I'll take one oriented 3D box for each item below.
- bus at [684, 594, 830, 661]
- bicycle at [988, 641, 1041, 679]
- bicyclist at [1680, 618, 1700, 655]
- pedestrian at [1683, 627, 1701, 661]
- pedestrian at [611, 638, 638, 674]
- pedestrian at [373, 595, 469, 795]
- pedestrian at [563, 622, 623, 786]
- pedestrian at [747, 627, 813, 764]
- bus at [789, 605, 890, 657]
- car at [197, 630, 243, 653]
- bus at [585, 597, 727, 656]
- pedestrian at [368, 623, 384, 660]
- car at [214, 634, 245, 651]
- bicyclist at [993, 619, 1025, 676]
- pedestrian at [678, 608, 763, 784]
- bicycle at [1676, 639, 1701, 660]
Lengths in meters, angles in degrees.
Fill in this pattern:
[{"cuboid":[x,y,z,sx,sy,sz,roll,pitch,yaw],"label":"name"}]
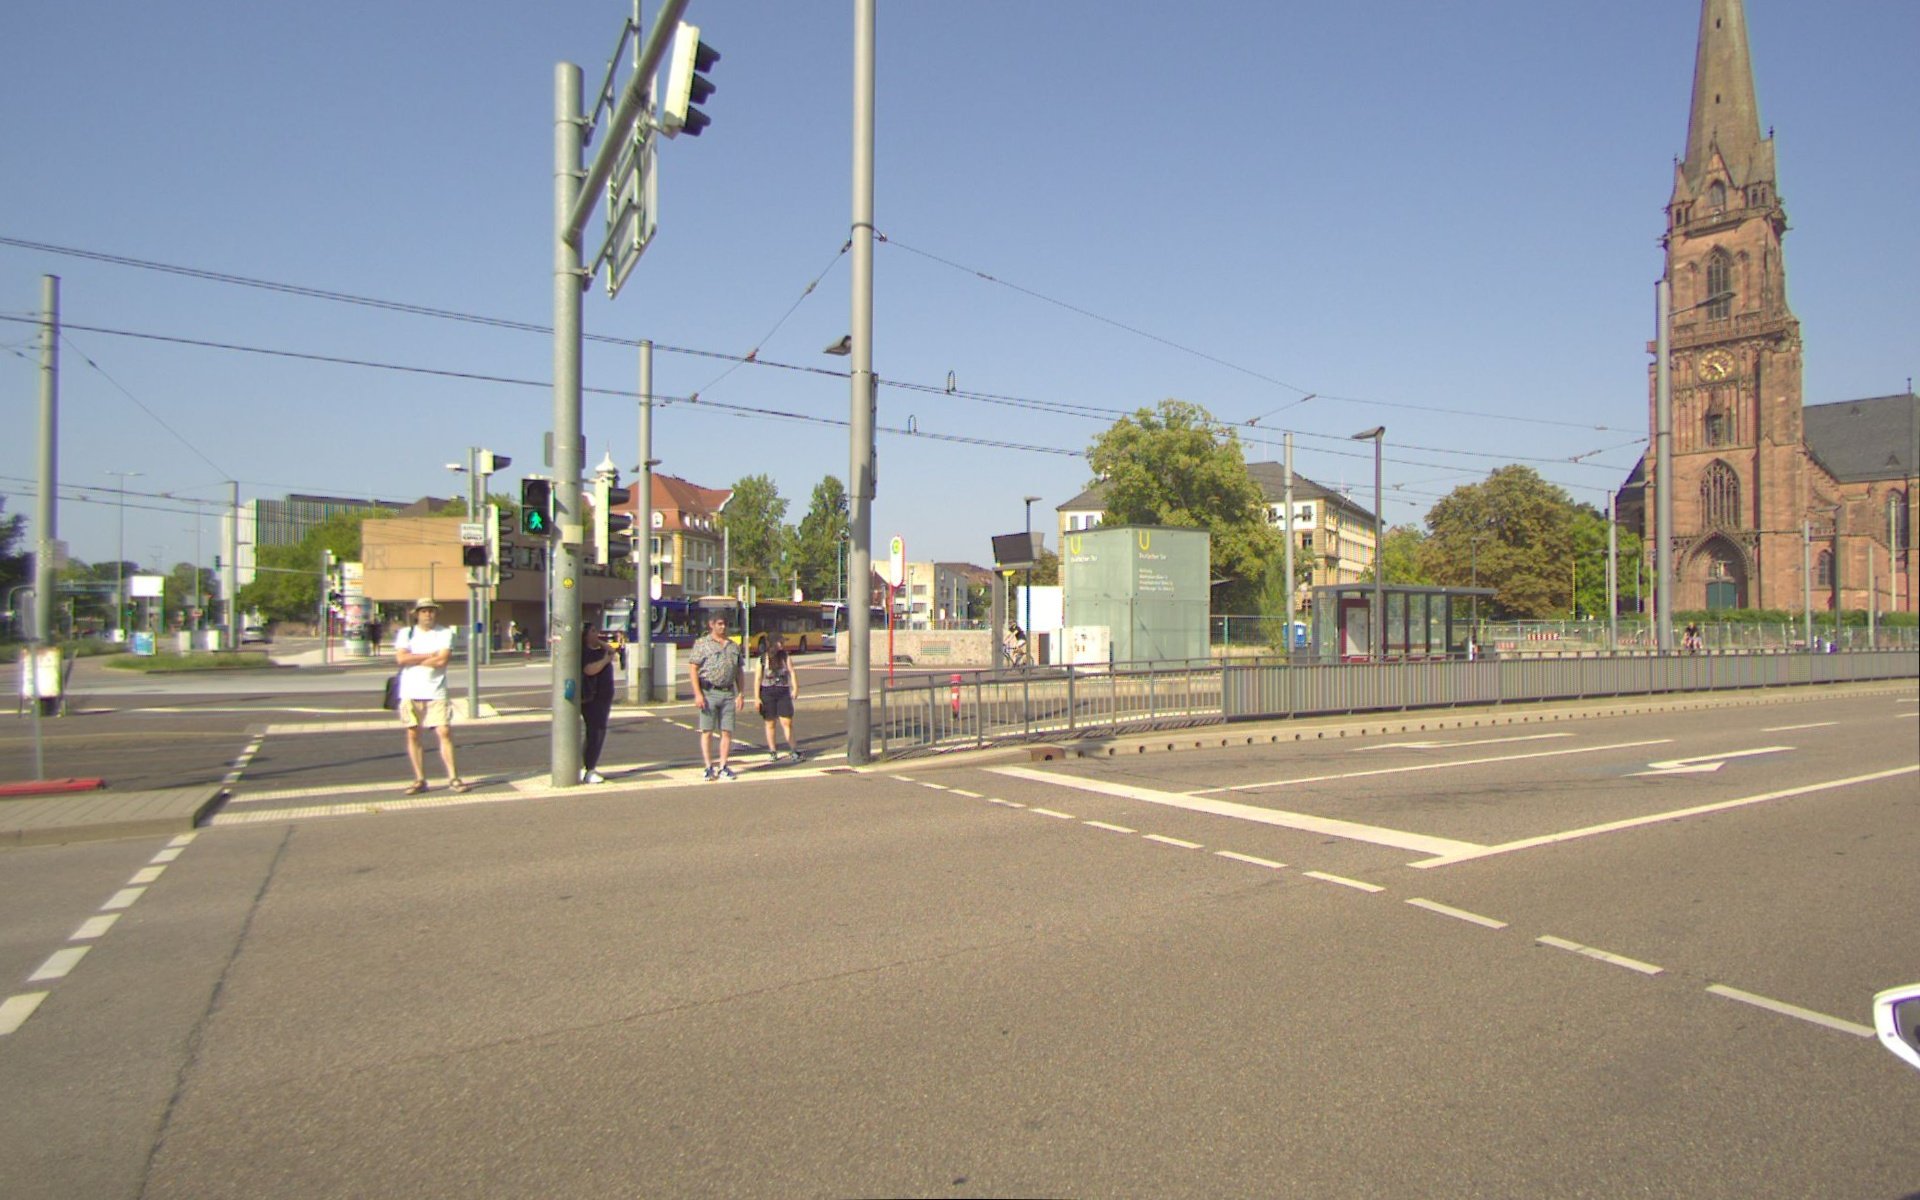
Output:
[{"cuboid":[-10.726,1.535,55.328,3.159,3.220,13.327,0,-2,10],"label":"bus"},{"cuboid":[1.654,1.805,30.381,1.727,1.124,0.399,1,-2,-33],"label":"bicycle"},{"cuboid":[35.080,1.737,48.266,0.810,1.770,0.484,1,-2,-31],"label":"bicyclist"},{"cuboid":[37.140,2.230,50.971,0.657,1.723,0.514,1,-1,-32],"label":"pedestrian"},{"cuboid":[-12.481,2.074,37.367,0.752,1.309,0.558,0,-1,12],"label":"pedestrian"},{"cuboid":[-5.162,0.894,9.669,0.719,1.811,0.831,0,-4,-24],"label":"pedestrian"},{"cuboid":[-3.783,1.052,10.345,0.463,1.618,0.629,1,-4,-33],"label":"pedestrian"},{"cuboid":[-2.161,1.128,12.023,0.541,1.568,0.804,1,-4,-30],"label":"pedestrian"},{"cuboid":[-8.001,2.128,69.536,3.159,3.220,13.327,0,-2,10],"label":"bus"},{"cuboid":[-49.824,2.760,67.681,1.759,1.528,3.975,1,-2,-25],"label":"car"},{"cuboid":[-19.447,1.754,65.685,3.159,3.464,13.327,0,-2,10],"label":"bus"},{"cuboid":[-28.340,2.015,48.753,0.395,1.792,0.559,0,-1,15],"label":"pedestrian"},{"cuboid":[-62.469,3.617,85.919,1.473,1.470,3.502,1,-2,-25],"label":"car"},{"cuboid":[1.463,1.417,30.275,0.781,1.678,0.584,1,-2,-31],"label":"bicyclist"},{"cuboid":[-2.481,0.972,10.358,0.644,1.714,0.810,1,-4,-31],"label":"pedestrian"},{"cuboid":[35.023,2.362,48.301,1.676,0.966,0.348,1,-2,-31],"label":"bicycle"}]
